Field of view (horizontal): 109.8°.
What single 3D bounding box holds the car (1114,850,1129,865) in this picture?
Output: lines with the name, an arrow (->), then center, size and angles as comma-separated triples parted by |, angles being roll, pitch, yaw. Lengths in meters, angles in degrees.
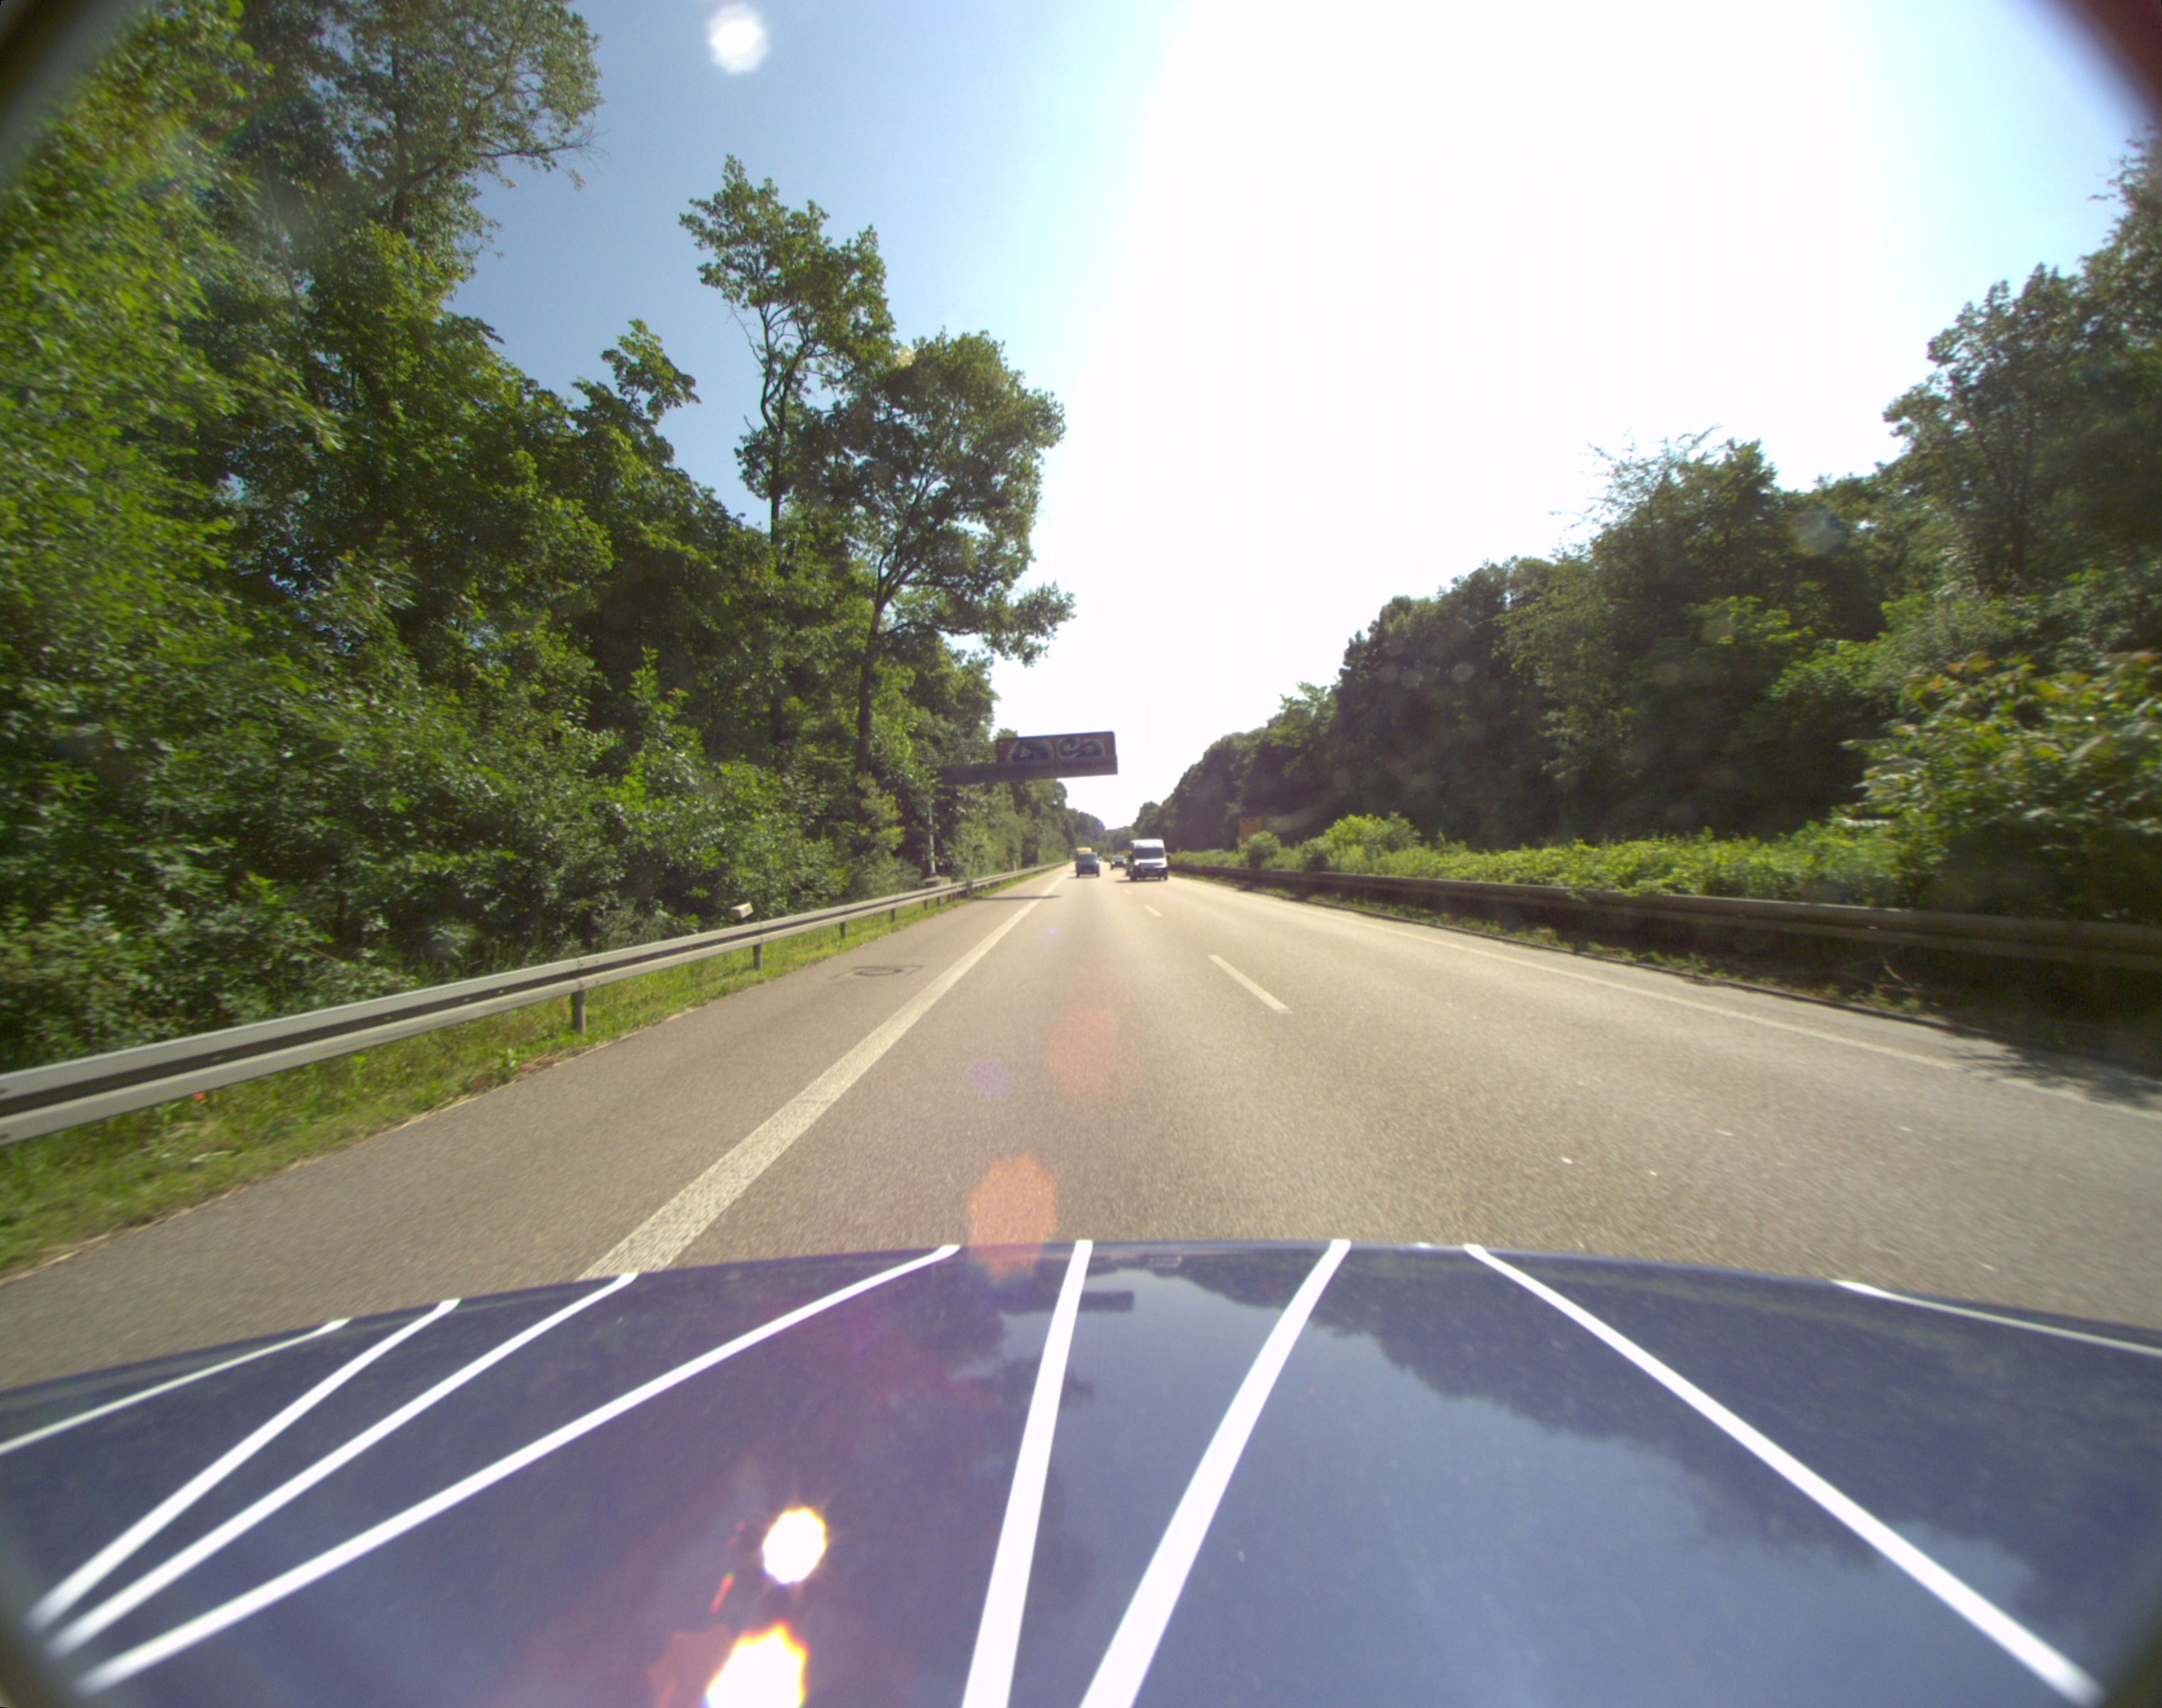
car -> 4.728, 0.371, 88.628 | 1.517, 1.624, 3.611 | -2, 0, 1

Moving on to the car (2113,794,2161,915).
car -> 15.641, -0.021, 8.527 | 1.697, 1.652, 4.714 | 0, -1, 0

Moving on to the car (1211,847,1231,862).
car -> 16.842, 0.085, 91.619 | 1.697, 1.652, 4.001 | 1, -1, 0

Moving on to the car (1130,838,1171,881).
car -> 4.154, 0.317, 46.205 | 2.046, 2.429, 4.637 | -2, 0, 0

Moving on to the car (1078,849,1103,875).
car -> 0.697, 0.615, 59.519 | 1.812, 1.921, 4.581 | -2, 0, 0

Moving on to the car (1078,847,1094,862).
car -> 0.636, 0.025, 87.873 | 1.737, 1.624, 3.899 | -2, 0, 1
